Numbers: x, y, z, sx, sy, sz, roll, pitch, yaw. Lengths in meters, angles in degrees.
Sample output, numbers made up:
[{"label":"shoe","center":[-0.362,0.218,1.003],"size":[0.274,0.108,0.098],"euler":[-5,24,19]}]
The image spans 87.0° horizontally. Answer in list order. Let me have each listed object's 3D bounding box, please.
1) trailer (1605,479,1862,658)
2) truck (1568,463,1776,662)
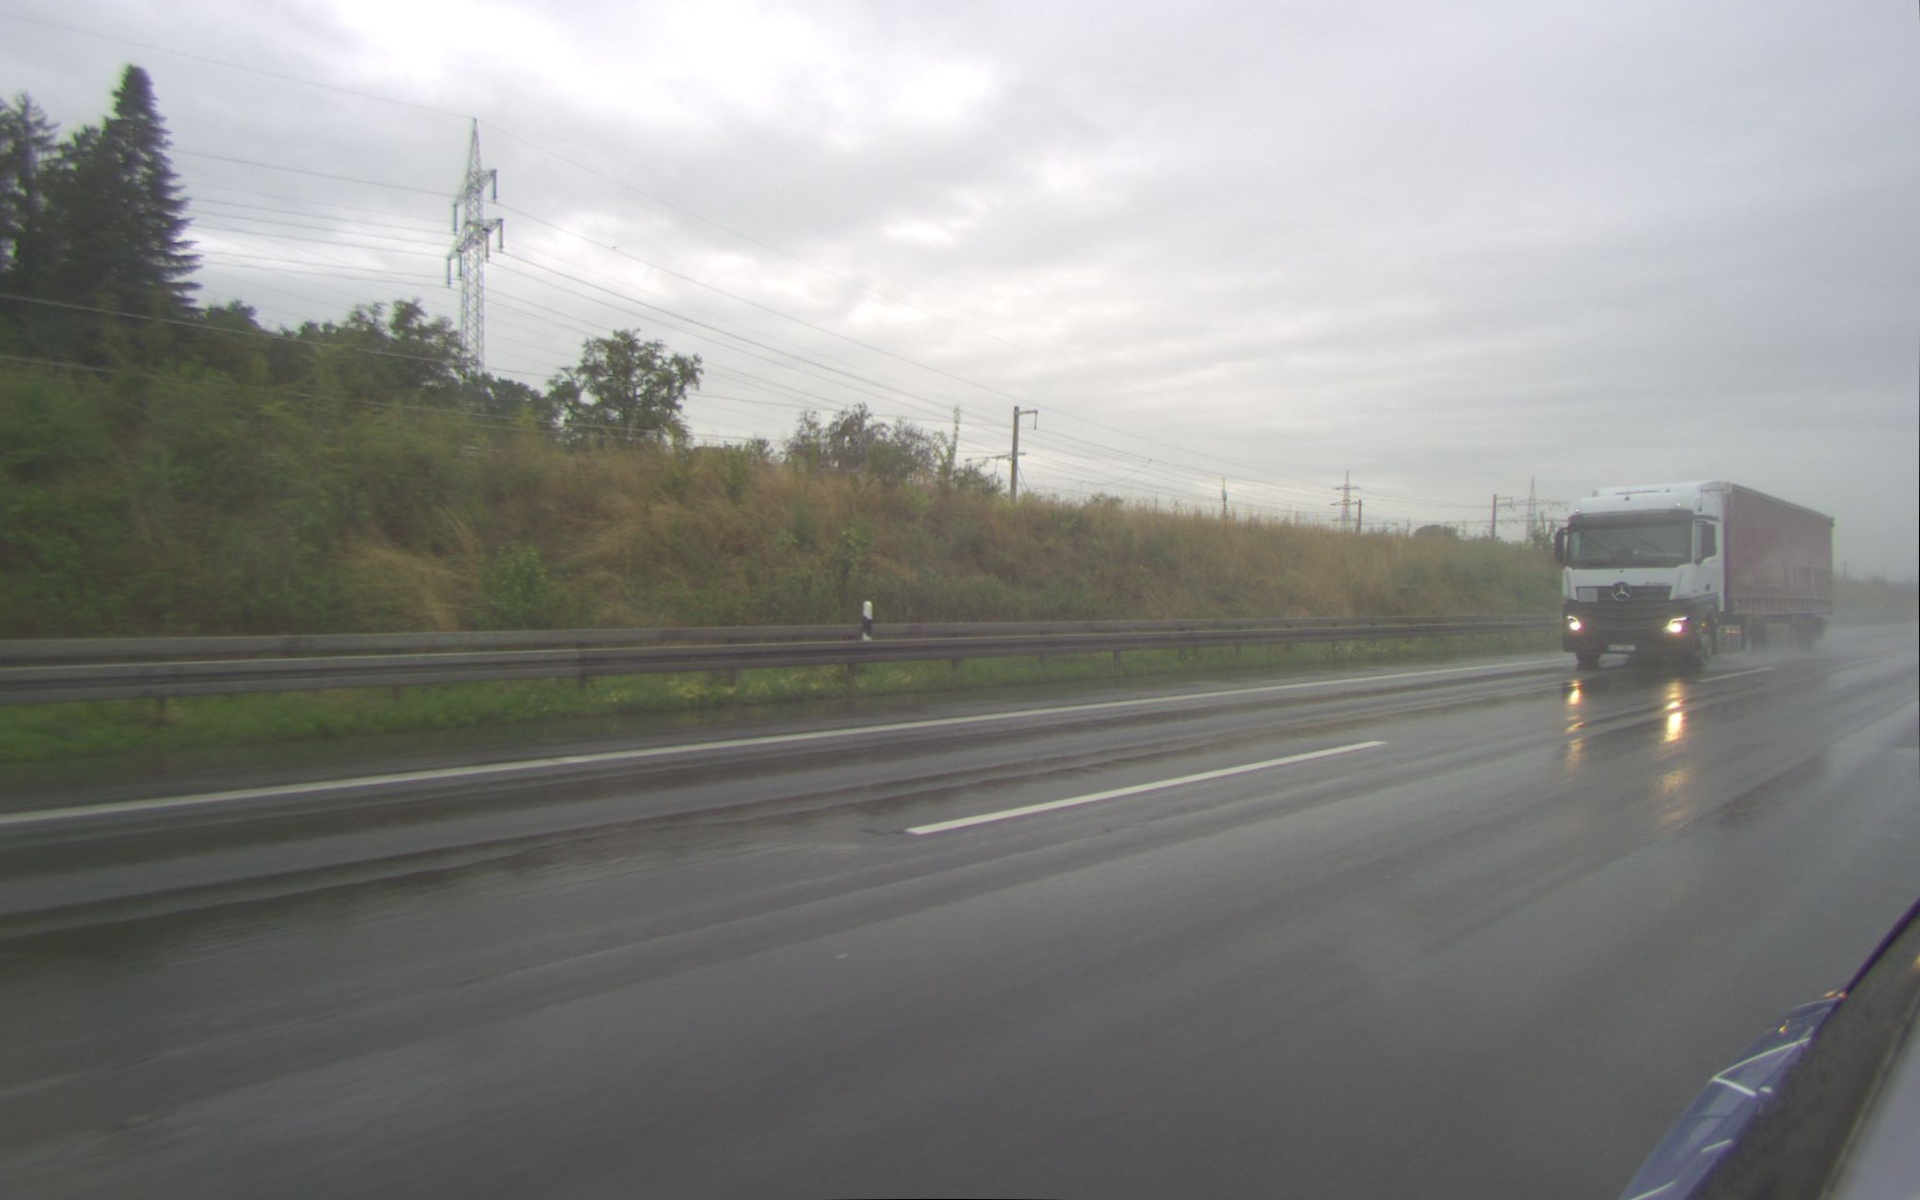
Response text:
[{"label":"trailer","center":[21.918,-0.656,27.933],"size":[16.255,3.813,2.484],"euler":[0,0,-41]},{"label":"truck","center":[16.289,-0.741,23.006],"size":[6.090,3.939,2.456],"euler":[0,0,-41]}]
